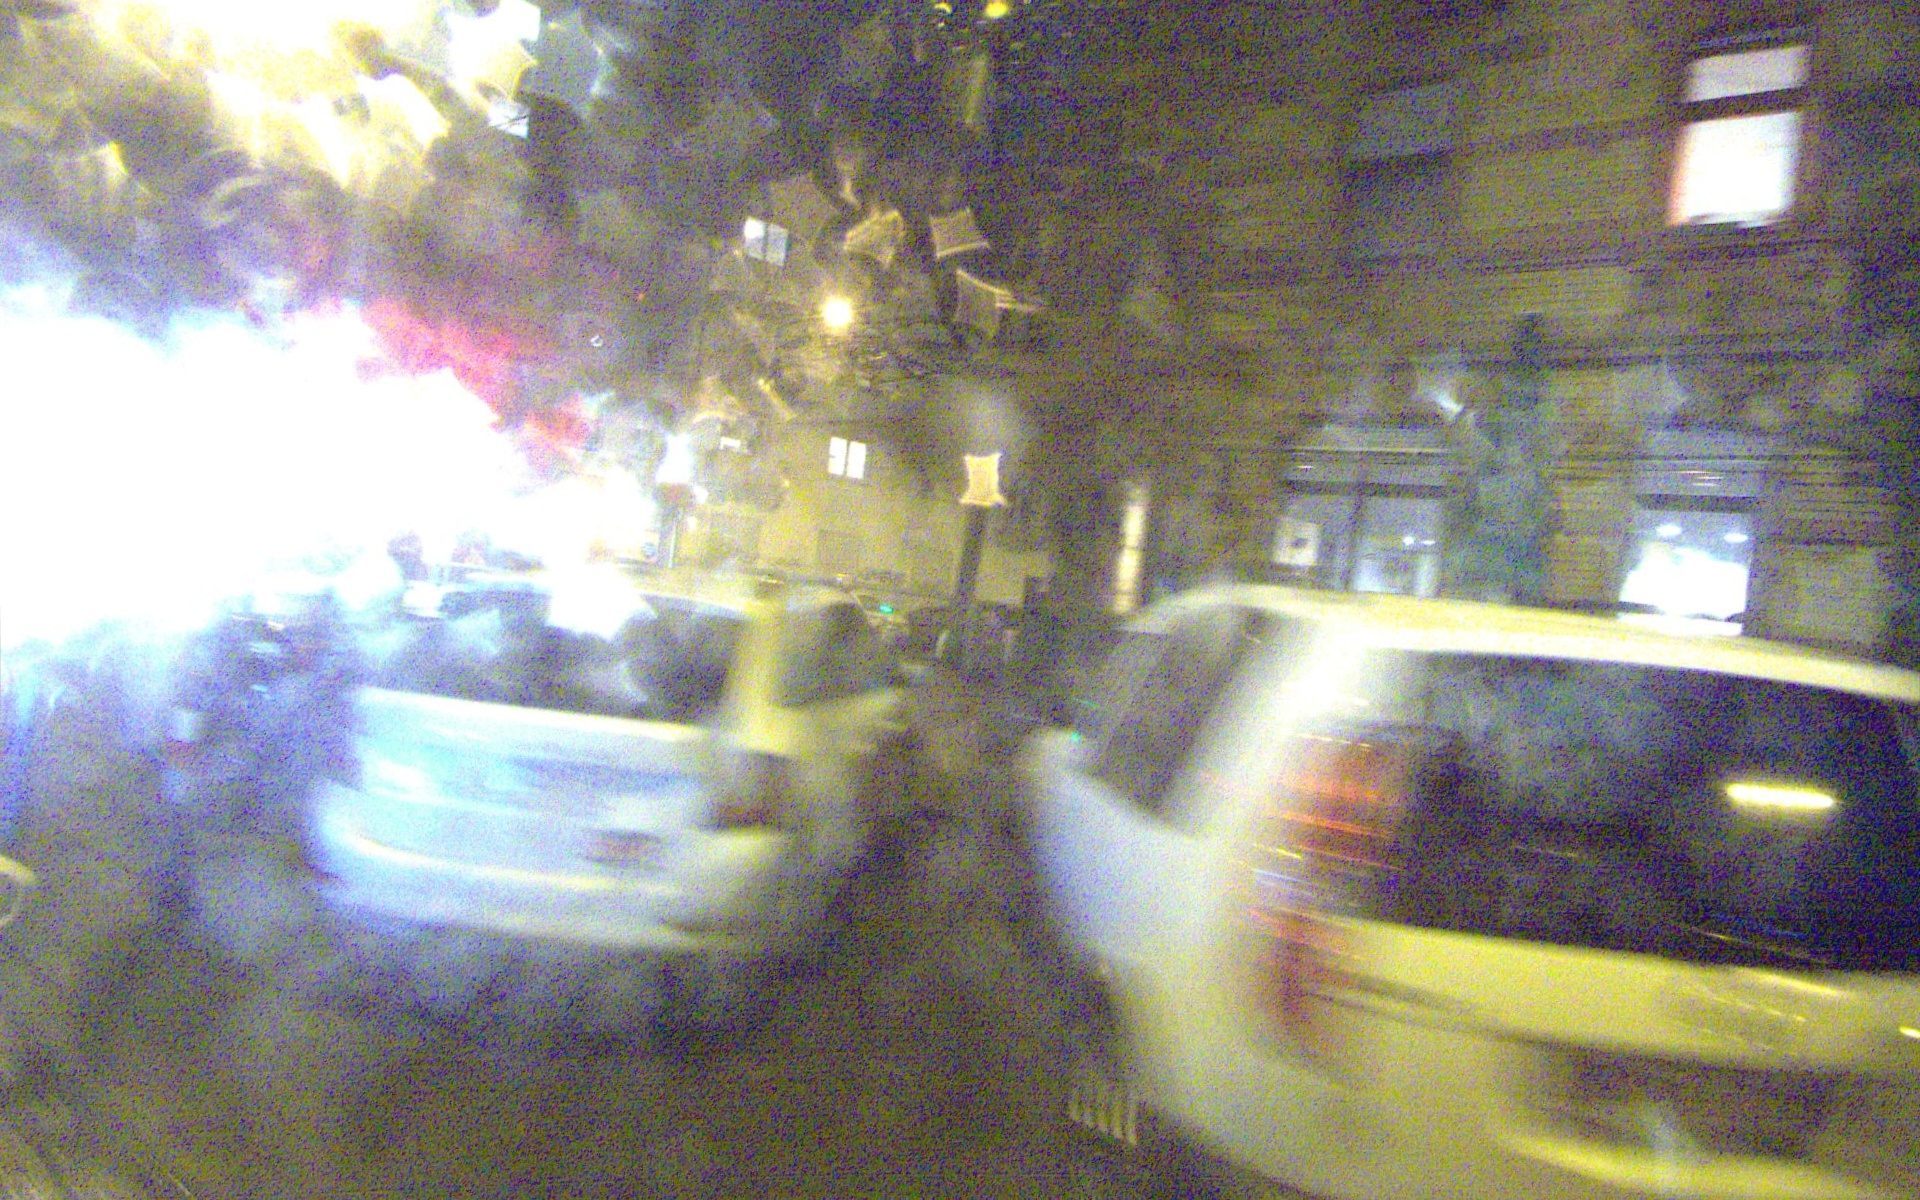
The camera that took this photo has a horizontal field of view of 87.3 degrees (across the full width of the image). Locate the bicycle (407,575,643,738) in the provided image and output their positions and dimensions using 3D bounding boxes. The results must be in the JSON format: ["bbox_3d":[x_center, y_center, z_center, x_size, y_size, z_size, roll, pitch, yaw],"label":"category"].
[{"bbox_3d":[-3.290,0.413,7.634,1.615,1.040,0.336,6,2,6],"label":"bicycle"}]

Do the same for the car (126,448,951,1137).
[{"bbox_3d":[-1.149,0.473,4.737,1.738,1.594,4.261,6,1,4],"label":"car"}]

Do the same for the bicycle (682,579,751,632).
[{"bbox_3d":[-6.469,0.167,26.857,0.444,1.190,1.964,7,-2,29],"label":"bicycle"}]

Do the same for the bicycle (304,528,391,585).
[{"bbox_3d":[-15.533,-1.089,25.551,1.767,1.188,0.381,8,0,-30],"label":"bicycle"}]

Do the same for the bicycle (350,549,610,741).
[{"bbox_3d":[-3.363,0.302,7.061,1.615,1.106,0.336,7,2,6],"label":"bicycle"}]

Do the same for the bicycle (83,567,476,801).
[{"bbox_3d":[-3.526,0.450,5.314,1.620,1.039,0.335,7,2,-15],"label":"bicycle"}]

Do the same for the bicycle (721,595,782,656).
[{"bbox_3d":[-3.978,0.462,19.122,0.400,1.020,1.795,8,-2,-33],"label":"bicycle"}]

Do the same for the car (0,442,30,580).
[{"bbox_3d":[-16.002,-1.567,15.487,4.763,1.945,2.118,7,-1,45],"label":"car"}]

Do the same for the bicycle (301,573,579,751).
[{"bbox_3d":[-3.400,0.400,6.617,1.615,1.039,0.336,4,0,2],"label":"bicycle"}]

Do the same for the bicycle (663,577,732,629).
[{"bbox_3d":[-7.066,0.100,27.168,0.444,1.190,1.964,7,-2,29],"label":"bicycle"}]

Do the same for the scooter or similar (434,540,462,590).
[{"bbox_3d":[-13.998,-0.964,27.512,0.521,1.244,1.303,8,0,-28],"label":"scooter or similar"}]

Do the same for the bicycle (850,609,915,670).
[{"bbox_3d":[-1.563,0.771,20.124,0.399,1.021,1.761,7,1,-33],"label":"bicycle"}]

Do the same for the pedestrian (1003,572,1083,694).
[{"bbox_3d":[1.317,0.519,16.066,0.783,1.840,0.803,5,0,-33],"label":"pedestrian"}]

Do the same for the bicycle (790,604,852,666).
[{"bbox_3d":[-2.766,0.665,19.898,0.399,1.021,1.794,7,1,-33],"label":"bicycle"}]

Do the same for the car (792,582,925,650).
[{"bbox_3d":[-3.153,0.491,31.152,3.631,1.596,1.755,6,-2,31],"label":"car"}]

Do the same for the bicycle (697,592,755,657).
[{"bbox_3d":[-4.428,0.439,18.936,0.376,1.021,1.794,7,1,-33],"label":"bicycle"}]

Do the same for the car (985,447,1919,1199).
[{"bbox_3d":[1.153,0.707,3.346,1.739,1.735,3.736,6,1,-2],"label":"car"}]

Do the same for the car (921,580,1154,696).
[{"bbox_3d":[1.448,0.711,21.073,1.982,1.783,5.049,8,-1,-35],"label":"car"}]

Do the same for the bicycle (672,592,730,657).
[{"bbox_3d":[-4.826,0.431,18.665,0.399,1.021,1.794,7,1,-33],"label":"bicycle"}]

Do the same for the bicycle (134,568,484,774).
[{"bbox_3d":[-3.674,0.412,5.765,1.619,1.040,0.335,5,2,-13],"label":"bicycle"}]

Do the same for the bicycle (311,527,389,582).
[{"bbox_3d":[-16.070,-1.186,26.541,1.630,1.187,0.381,9,-3,-30],"label":"bicycle"}]

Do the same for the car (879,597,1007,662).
[{"bbox_3d":[-0.557,0.941,32.509,3.631,1.596,1.755,6,-2,31],"label":"car"}]

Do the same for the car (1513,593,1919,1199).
[{"bbox_3d":[3.251,0.969,2.179,1.717,1.735,3.789,6,1,-2],"label":"car"}]

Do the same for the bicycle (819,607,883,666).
[{"bbox_3d":[-2.196,0.704,20.128,0.400,1.020,1.795,8,-2,-33],"label":"bicycle"}]

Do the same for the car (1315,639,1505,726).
[{"bbox_3d":[12.734,2.299,28.708,1.982,1.783,4.421,8,-1,-35],"label":"car"}]

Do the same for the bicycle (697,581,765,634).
[{"bbox_3d":[-6.048,0.216,26.650,0.444,1.190,1.964,7,-2,29],"label":"bicycle"}]

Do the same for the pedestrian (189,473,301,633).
[{"bbox_3d":[-8.598,-0.556,12.103,0.592,1.792,0.825,7,-1,44],"label":"pedestrian"}]

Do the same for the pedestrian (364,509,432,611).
[{"bbox_3d":[-11.062,-0.771,19.832,0.867,1.856,0.979,6,0,-22],"label":"pedestrian"}]

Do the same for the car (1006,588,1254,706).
[{"bbox_3d":[3.570,0.947,22.333,1.982,1.912,5.496,8,-1,-35],"label":"car"}]
